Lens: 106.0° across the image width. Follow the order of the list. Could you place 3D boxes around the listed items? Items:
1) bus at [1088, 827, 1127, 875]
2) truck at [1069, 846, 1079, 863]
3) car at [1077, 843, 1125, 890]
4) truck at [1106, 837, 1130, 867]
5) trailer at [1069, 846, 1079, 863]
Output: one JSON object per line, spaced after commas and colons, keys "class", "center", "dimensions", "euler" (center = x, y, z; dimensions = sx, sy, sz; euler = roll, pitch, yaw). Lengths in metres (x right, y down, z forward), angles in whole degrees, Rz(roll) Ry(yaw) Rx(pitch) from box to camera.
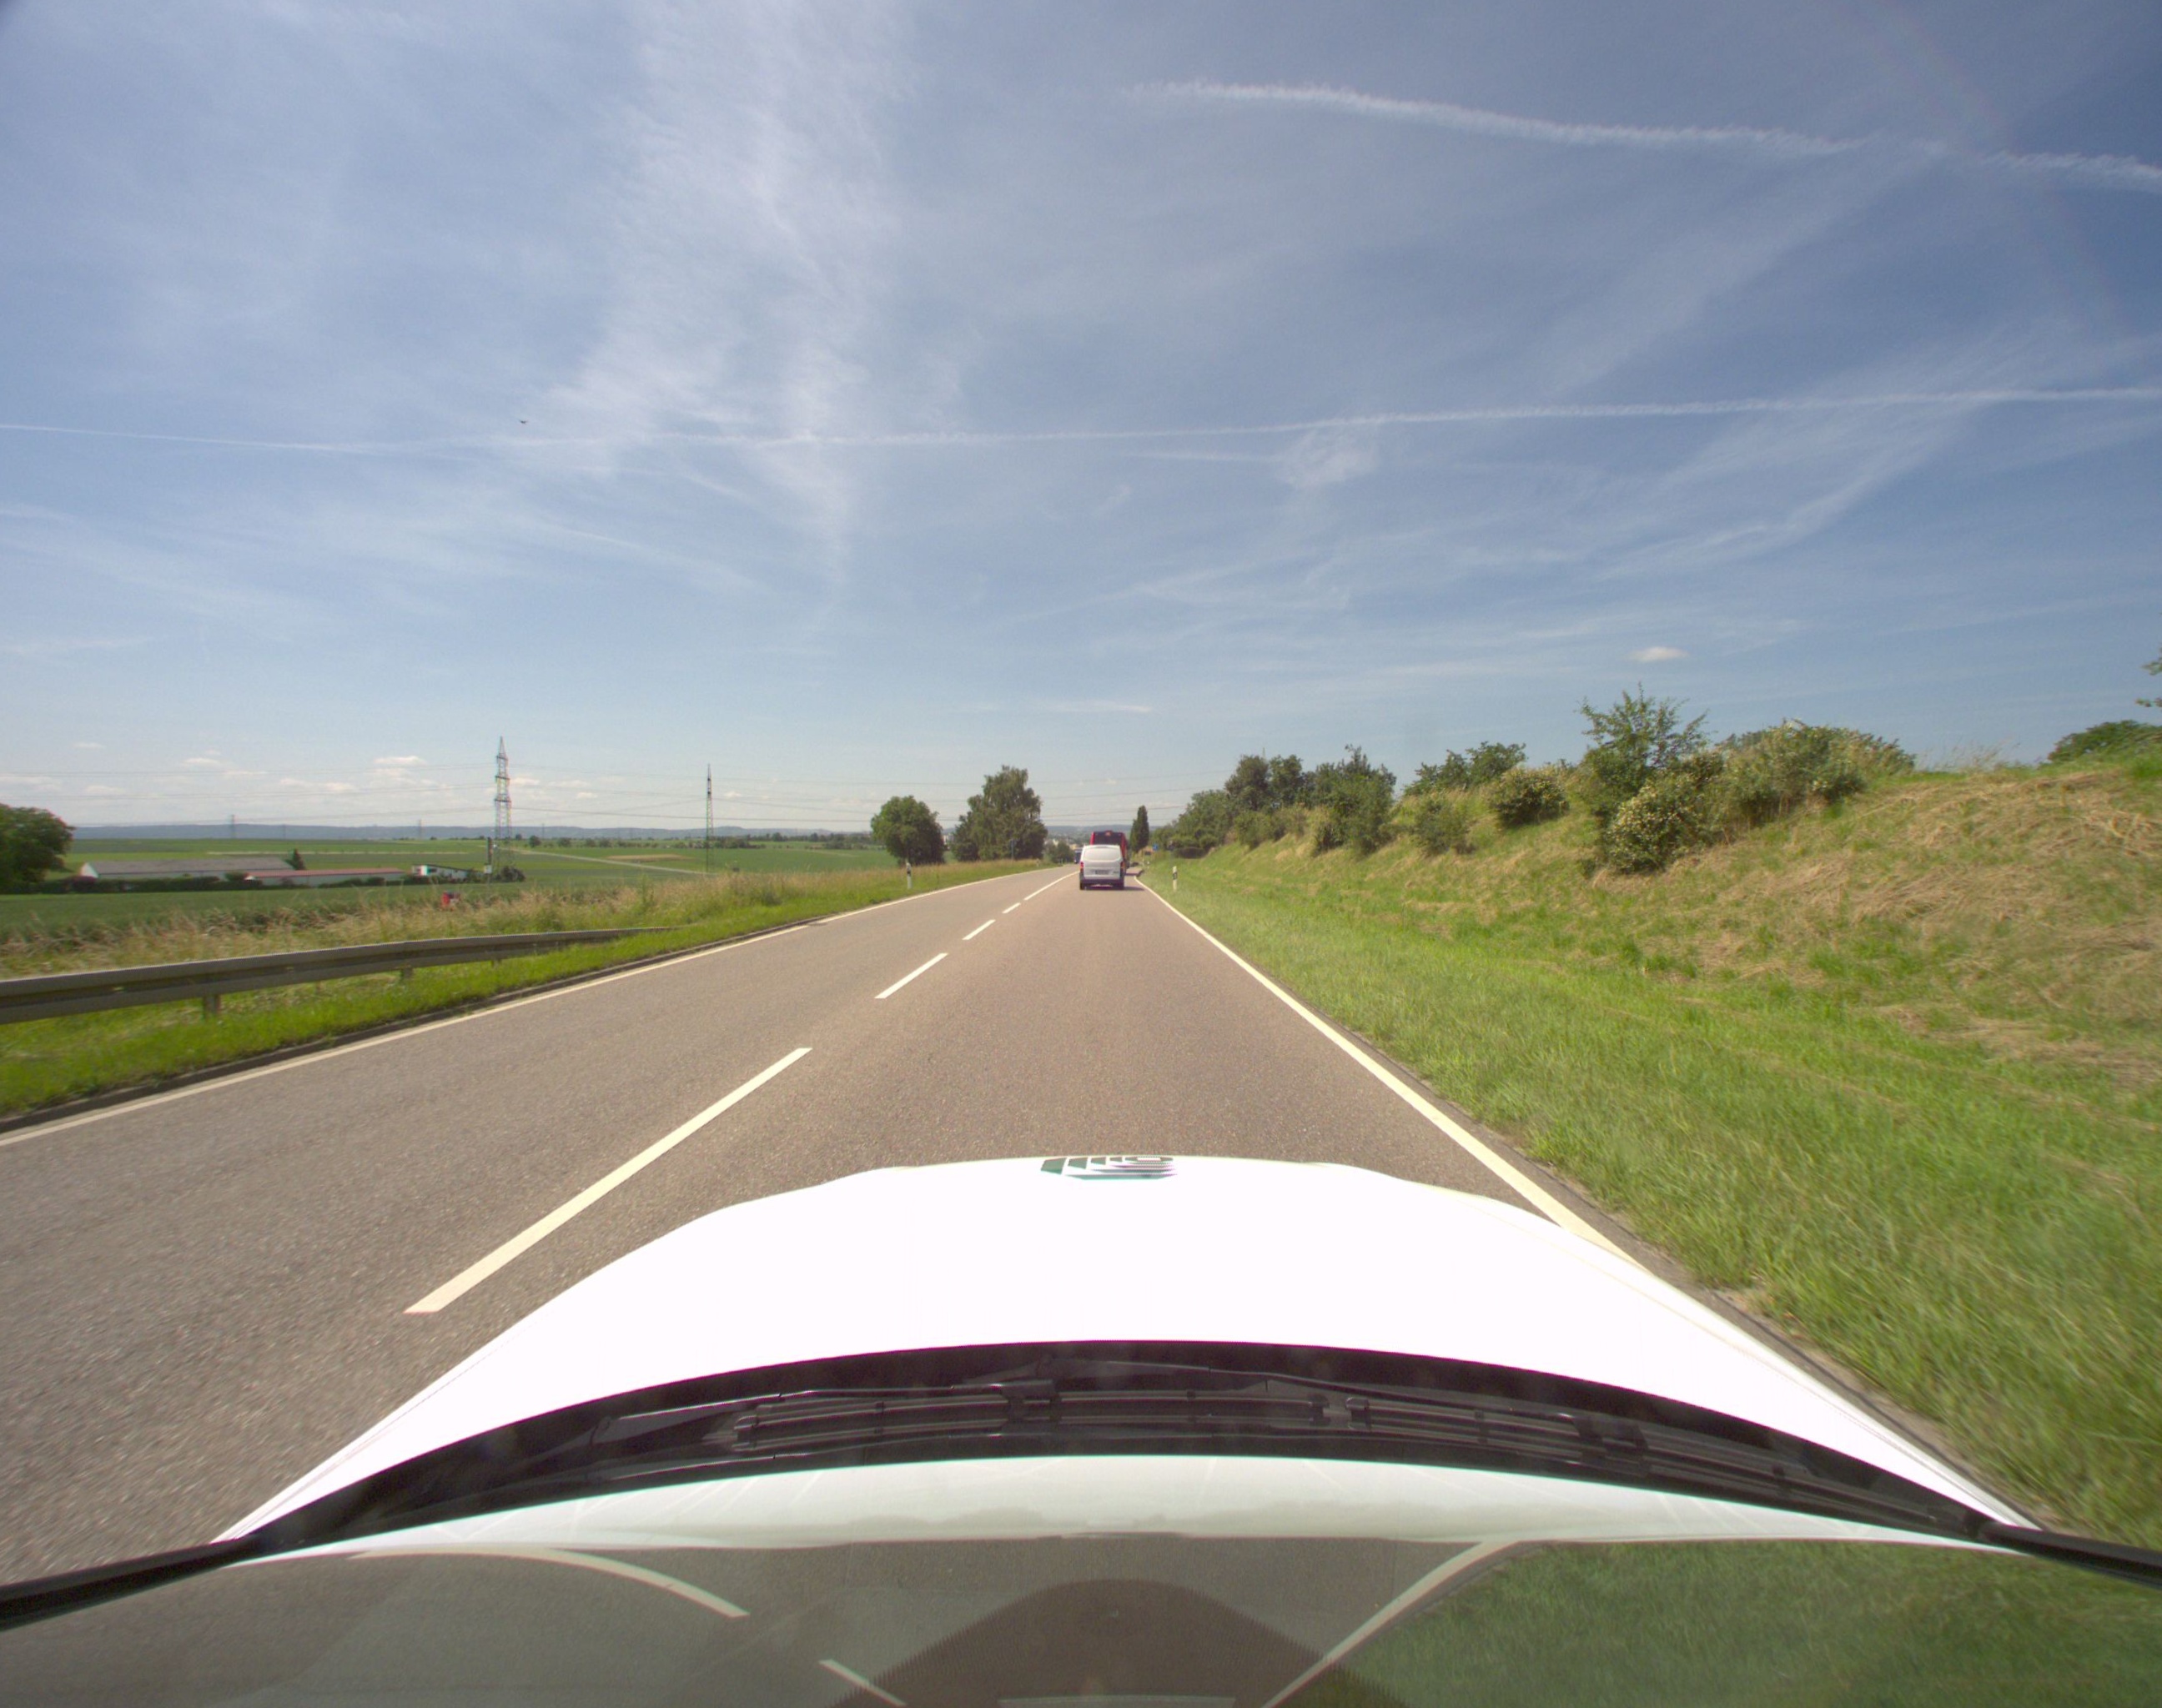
{"class": "bus", "center": [2.261, -0.394, 65.491], "dimensions": [2.736, 3.353, 13.233], "euler": [-2, 1, 3]}
{"class": "truck", "center": [-1.765, 0.139, 206.434], "dimensions": [2.578, 4.104, 5.437], "euler": [0, 0, -2]}
{"class": "car", "center": [0.890, 0.506, 35.202], "dimensions": [1.916, 1.889, 4.002], "euler": [-1, 0, 2]}
{"class": "truck", "center": [5.919, -0.278, 131.803], "dimensions": [3.475, 4.423, 14.909], "euler": [-1, 0, 2]}
{"class": "trailer", "center": [-1.936, 0.165, 213.435], "dimensions": [2.585, 4.143, 13.733], "euler": [0, 0, -1]}
